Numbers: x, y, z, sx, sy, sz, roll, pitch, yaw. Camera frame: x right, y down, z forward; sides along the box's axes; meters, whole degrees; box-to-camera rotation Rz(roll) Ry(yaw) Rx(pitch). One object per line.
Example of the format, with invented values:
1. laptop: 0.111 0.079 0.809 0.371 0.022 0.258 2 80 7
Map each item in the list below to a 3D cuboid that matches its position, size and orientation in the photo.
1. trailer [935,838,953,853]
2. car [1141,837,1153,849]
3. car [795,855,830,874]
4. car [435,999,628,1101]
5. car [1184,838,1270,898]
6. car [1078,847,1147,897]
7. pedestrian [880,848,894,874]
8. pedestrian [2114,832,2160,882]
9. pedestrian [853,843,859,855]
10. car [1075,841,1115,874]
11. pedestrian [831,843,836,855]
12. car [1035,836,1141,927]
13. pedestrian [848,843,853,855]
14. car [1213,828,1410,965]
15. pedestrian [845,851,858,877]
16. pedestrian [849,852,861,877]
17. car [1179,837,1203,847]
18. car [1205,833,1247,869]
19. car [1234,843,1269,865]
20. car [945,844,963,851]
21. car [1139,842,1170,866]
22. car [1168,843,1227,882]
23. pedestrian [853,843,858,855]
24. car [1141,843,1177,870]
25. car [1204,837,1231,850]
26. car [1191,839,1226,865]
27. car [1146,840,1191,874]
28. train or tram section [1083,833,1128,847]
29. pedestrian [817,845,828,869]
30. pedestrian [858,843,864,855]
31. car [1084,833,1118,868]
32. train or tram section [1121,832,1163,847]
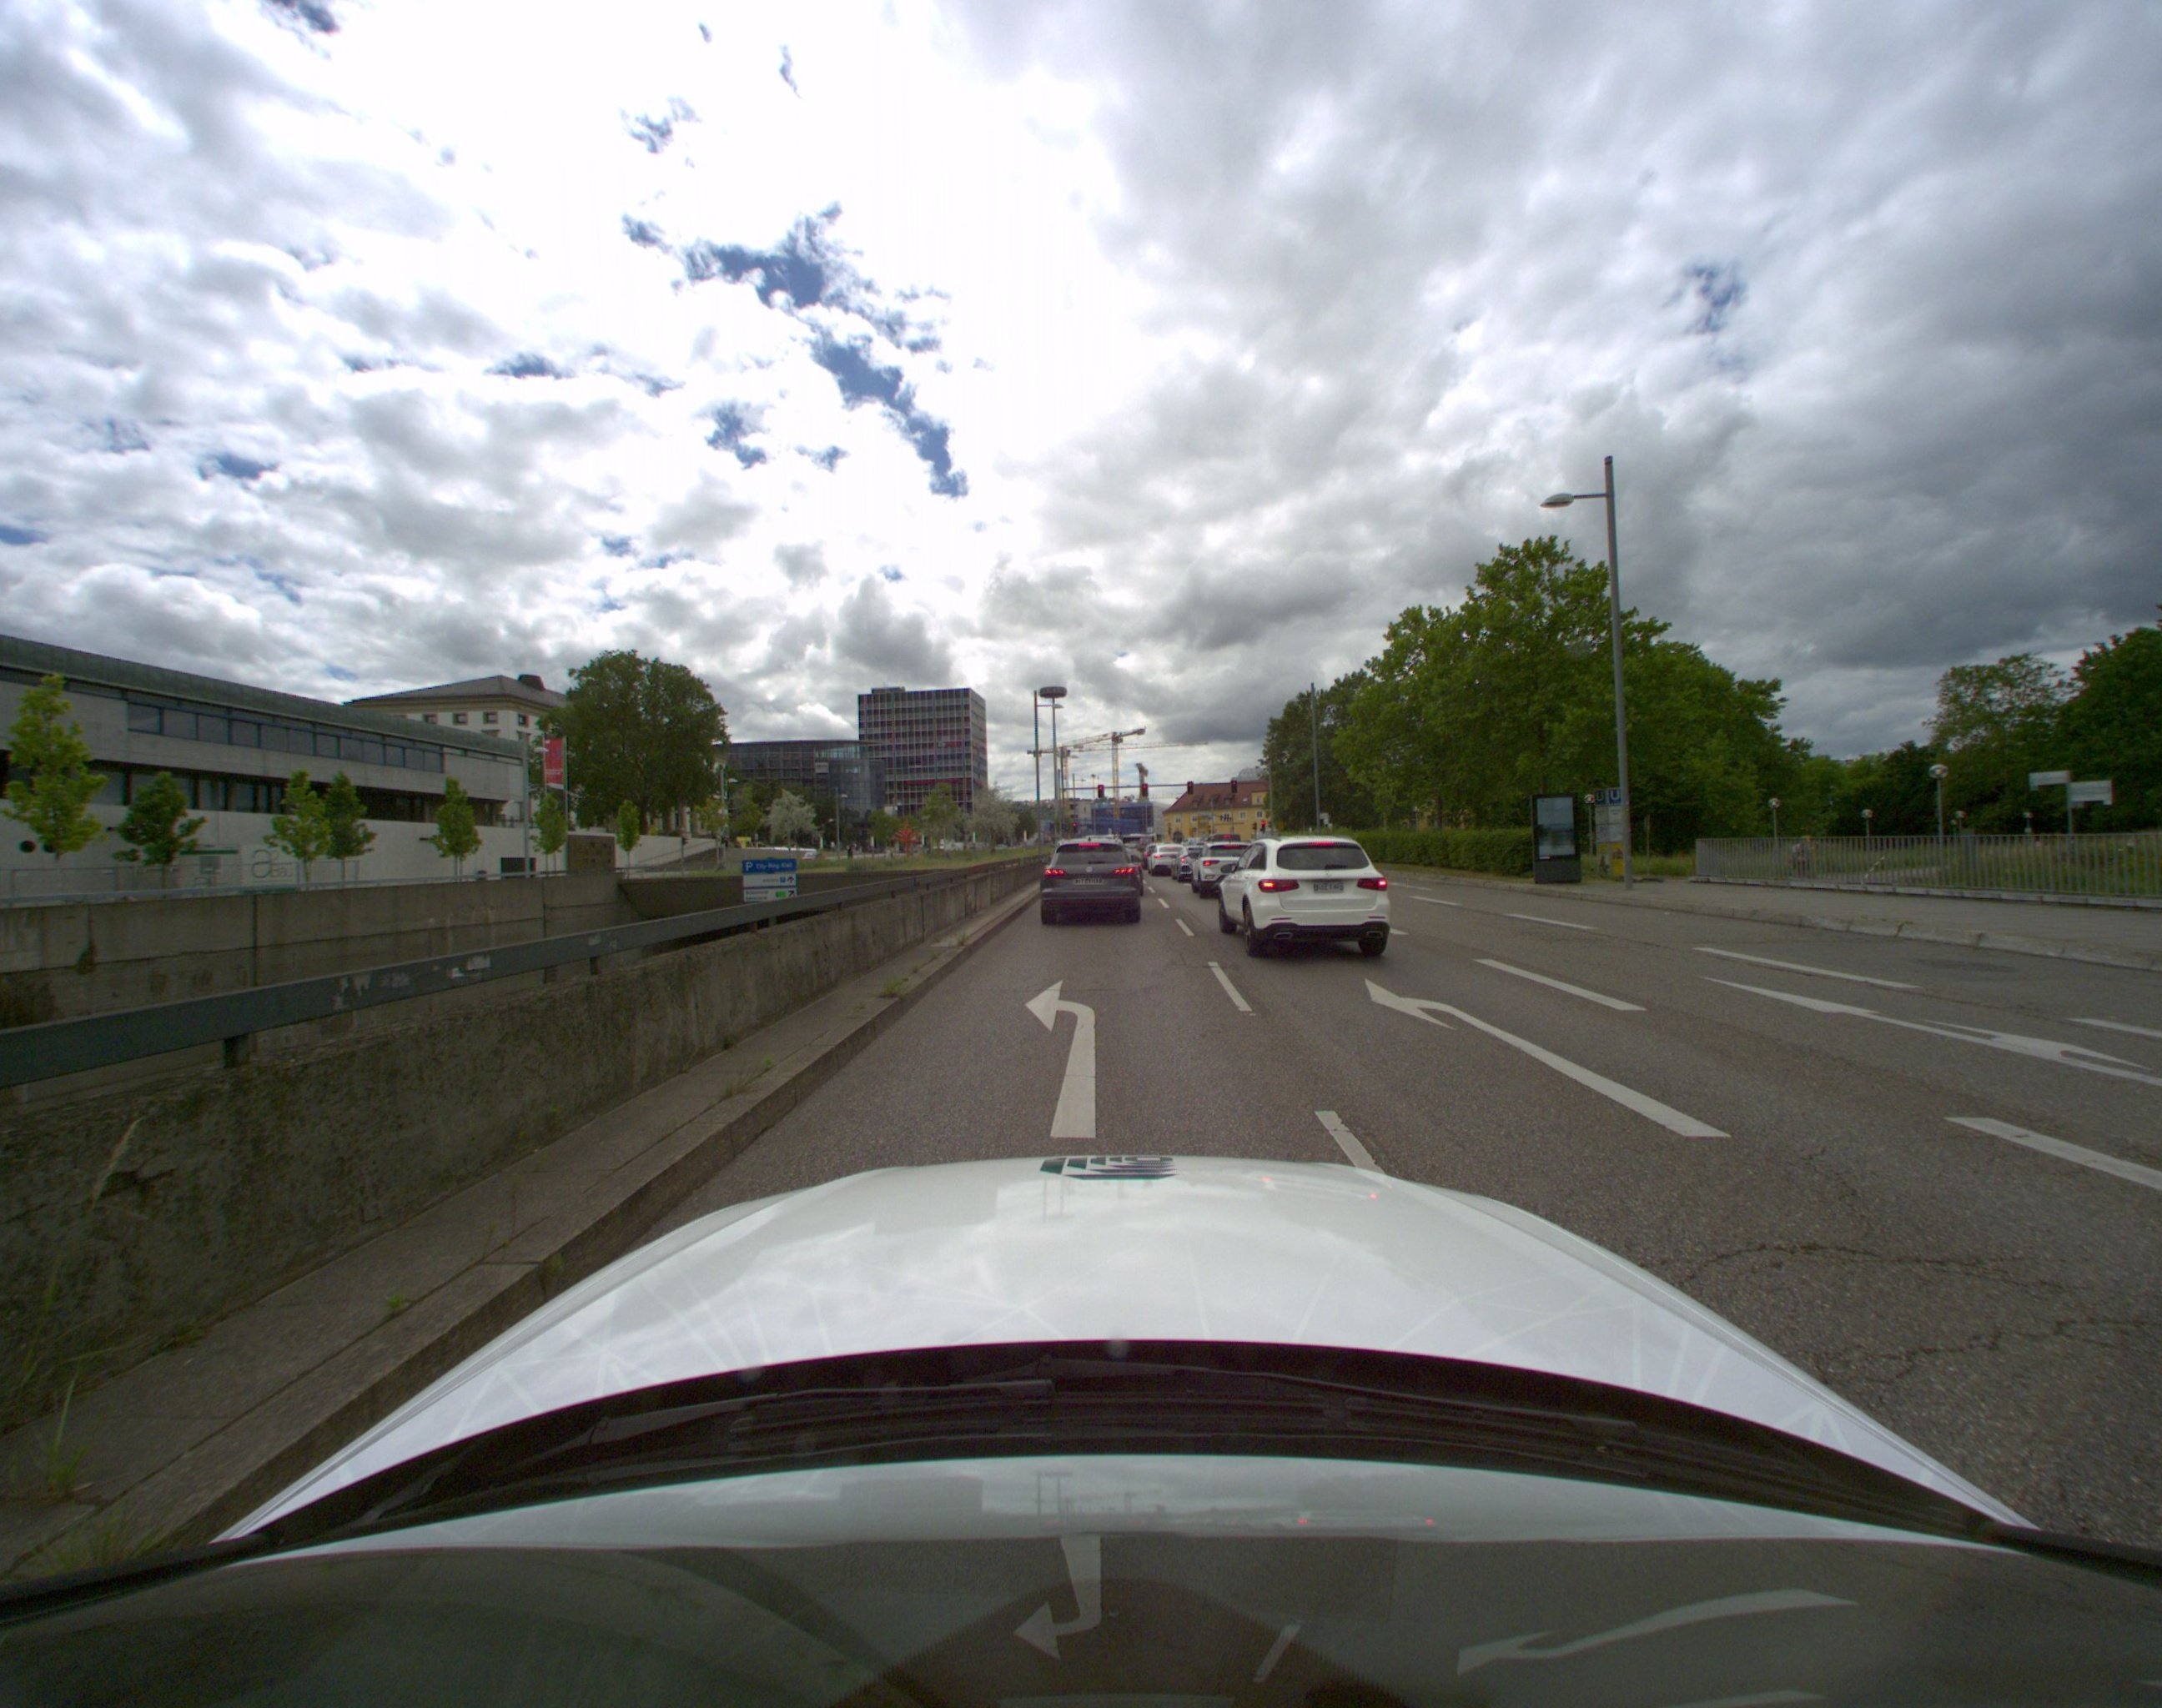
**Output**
1. trailer: -24.224 -1.520 143.863 2.030 2.604 5.511 0 1 2
2. car: 9.862 -1.669 121.915 1.612 1.627 4.002 0 -1 3
3. car: -28.779 1.134 87.425 2.167 1.854 4.737 -2 1 1
4. car: -16.107 5.694 24.311 1.987 1.639 5.249 -7 -2 0
5. car: 4.152 0.362 23.825 1.918 1.550 4.493 -1 0 3
6. car: 0.945 0.485 24.960 1.944 1.384 3.932 0 1 1
7. pedestrian: -15.713 0.575 66.034 0.857 2.013 0.629 -2 2 1
8. pedestrian: 34.843 0.105 26.891 0.650 1.601 0.687 0 -1 20
9. pedestrian: -38.475 -0.848 139.279 0.740 2.013 0.788 -3 2 -18
10. car: 0.755 0.135 41.747 1.944 1.599 3.932 0 1 1
11. pedestrian: -41.592 -0.881 136.818 0.740 2.013 0.788 -3 2 -18
12. car: 0.185 0.491 16.997 1.944 1.651 4.002 -1 1 1
13. pedestrian: -38.904 -0.864 137.372 0.740 2.013 1.108 -3 2 -18
14. car: 3.228 0.507 12.382 1.918 1.653 4.493 -1 0 3
15. pedestrian: -18.609 0.811 65.939 0.794 2.013 0.830 -3 1 -26
16. pedestrian: -18.537 0.820 66.825 0.794 2.013 0.830 -3 1 -26
17. car: 21.869 -2.402 161.789 4.403 2.014 2.013 0 -1 35
18. car: 8.509 -0.189 48.045 1.902 2.013 4.015 0 0 3
19. car: 11.747 -0.021 56.262 1.751 1.447 3.634 0 0 1
20. car: -31.154 -1.586 200.465 3.952 1.568 1.847 0 -1 23
21. car: 4.913 0.016 54.665 1.918 1.529 4.051 -1 0 3
22. car: 4.611 0.331 32.824 1.918 1.432 4.493 -1 0 3
23. pedestrian: -38.100 -0.863 137.623 0.740 2.013 0.788 -3 2 -18
24. car: 4.606 0.139 48.380 1.918 1.529 4.051 -1 0 3
25. car: 22.573 -1.732 134.386 3.948 2.014 2.012 0 -1 39
26. car: 8.597 -0.106 55.243 1.902 1.697 4.015 0 0 3
27. car: 4.186 0.155 39.562 1.918 1.529 4.493 -1 0 3
28. train or tram section: 5.288 -3.013 178.757 10.295 3.009 2.613 0 -1 37
29. pedestrian: -22.357 0.240 70.395 0.729 2.012 0.628 -2 5 -6
30. pedestrian: -37.562 -0.839 139.025 0.740 2.013 1.108 -3 2 -18
31. car: 1.211 -0.226 49.248 1.944 2.018 3.932 0 1 1
32. train or tram section: 12.940 -3.036 173.000 8.835 3.009 2.613 0 -1 37
